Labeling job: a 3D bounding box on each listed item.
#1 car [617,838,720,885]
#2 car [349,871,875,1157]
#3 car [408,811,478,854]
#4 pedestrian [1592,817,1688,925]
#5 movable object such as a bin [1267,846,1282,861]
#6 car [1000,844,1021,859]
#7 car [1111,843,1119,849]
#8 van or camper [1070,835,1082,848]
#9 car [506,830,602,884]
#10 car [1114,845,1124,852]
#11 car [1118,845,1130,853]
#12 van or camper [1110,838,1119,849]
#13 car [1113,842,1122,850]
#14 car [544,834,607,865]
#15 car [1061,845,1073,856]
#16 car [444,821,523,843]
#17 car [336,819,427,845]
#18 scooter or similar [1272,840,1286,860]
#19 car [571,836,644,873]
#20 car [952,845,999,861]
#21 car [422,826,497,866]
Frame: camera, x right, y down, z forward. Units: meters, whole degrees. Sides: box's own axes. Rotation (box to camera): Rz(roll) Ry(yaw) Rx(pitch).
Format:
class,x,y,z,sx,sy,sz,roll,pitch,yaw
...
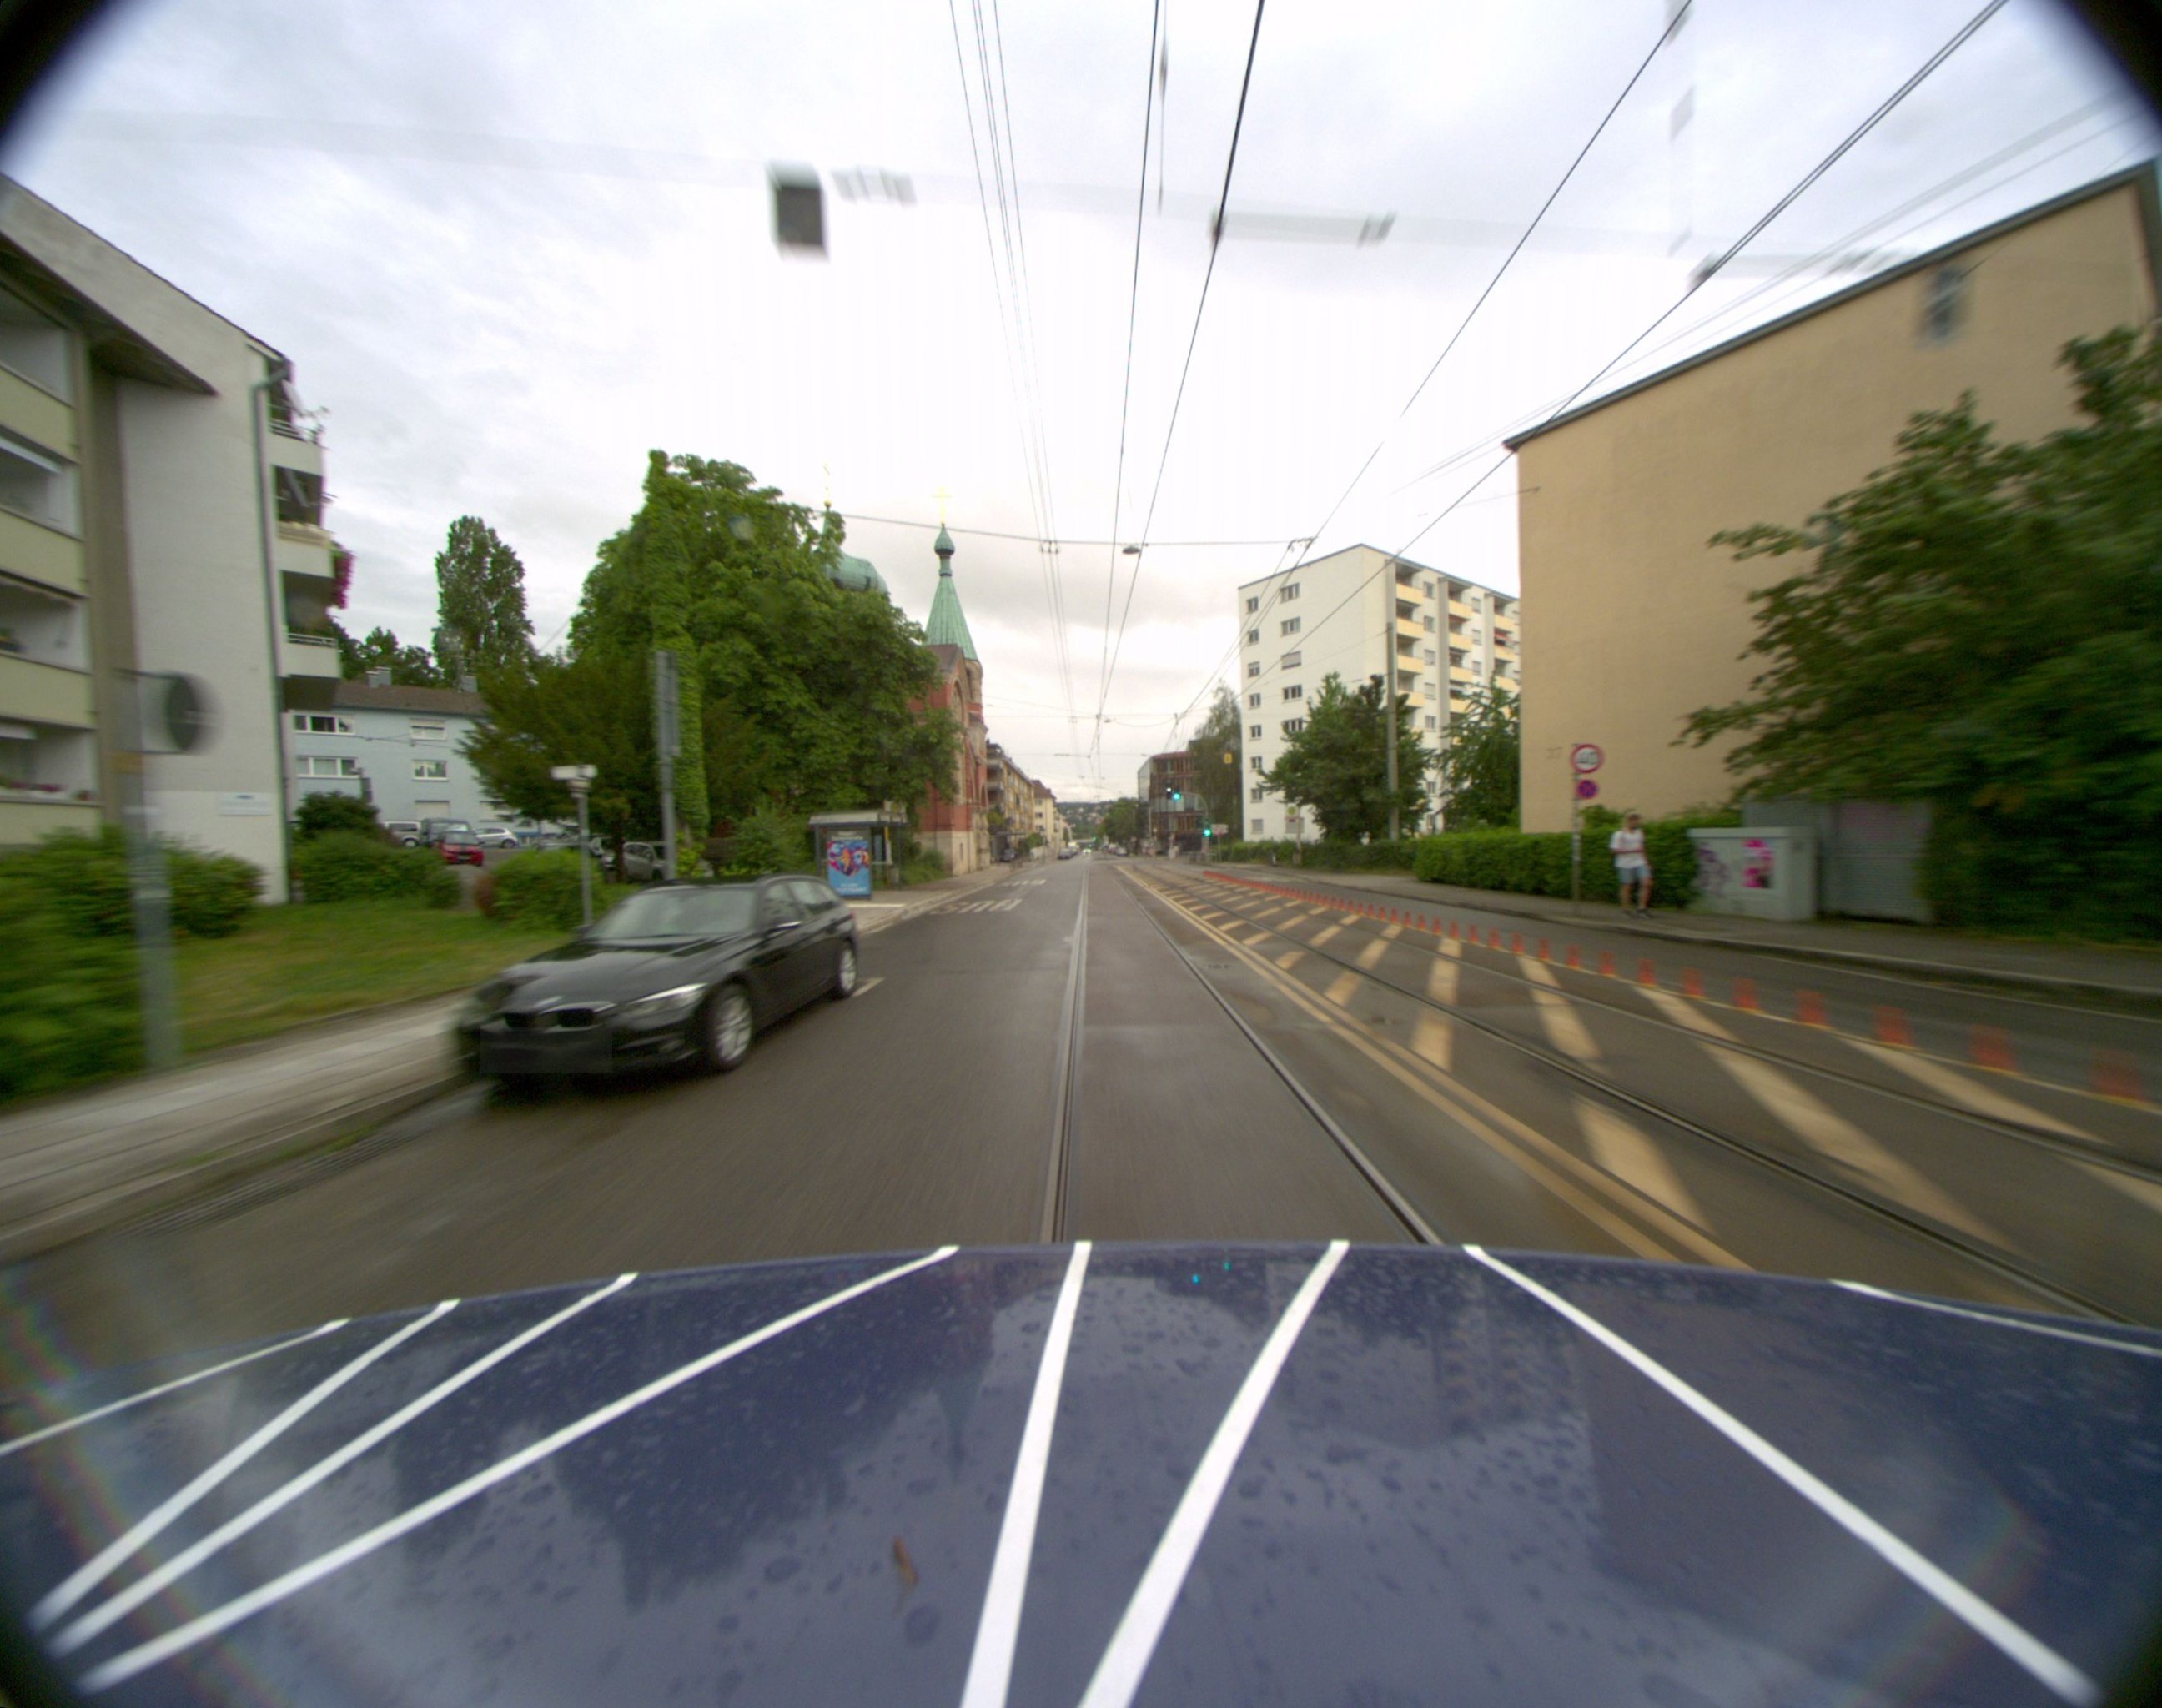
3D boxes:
class,x,y,z,sx,sy,sz,roll,pitch,yaw
car,-15.154,0.255,27.832,4.372,1.550,1.845,-1,3,42
car,-3.447,1.019,6.910,1.863,1.478,4.644,-3,1,-1
car,-31.703,-1.061,37.723,3.988,1.967,2.003,-1,3,42
pedestrian,10.104,0.282,13.760,0.921,1.836,1.016,-4,2,-5
movable object such as a bin,12.284,-0.027,48.173,0.688,0.877,0.760,-3,2,-5
car,-8.063,-0.280,87.225,1.858,1.495,4.447,1,3,1
car,8.974,-2.127,201.343,1.998,1.566,3.998,-3,3,0
van or camper,-1.170,-3.135,187.789,2.754,3.041,7.028,-2,2,2
car,-18.479,0.089,26.562,4.190,1.686,1.845,-1,3,44
car,8.738,-1.304,176.049,1.881,1.390,3.998,-2,2,-2
car,7.640,-0.876,135.888,1.862,1.387,4.644,-1,1,0
van or camper,9.170,-2.894,207.382,2.143,2.588,5.548,-3,2,2
car,8.671,-1.851,180.960,1.881,1.700,3.998,-2,2,-2
car,-25.705,-0.231,38.603,3.825,1.437,1.747,-1,3,43
car,-2.201,-0.531,118.881,1.734,1.452,4.476,-3,2,0
car,-39.682,-1.471,50.482,4.007,1.398,1.824,-2,1,-40
car,-43.240,-1.358,47.097,4.007,1.521,1.824,-2,1,-40
scooter or similar,12.002,-0.248,46.150,0.573,1.178,1.600,-2,2,6
car,-21.948,0.035,35.190,3.984,1.555,1.845,-1,3,44
car,-10.705,-0.047,77.218,4.459,1.448,1.996,2,-2,-45
car,-28.534,-0.349,34.856,4.190,1.686,1.845,-1,3,40
